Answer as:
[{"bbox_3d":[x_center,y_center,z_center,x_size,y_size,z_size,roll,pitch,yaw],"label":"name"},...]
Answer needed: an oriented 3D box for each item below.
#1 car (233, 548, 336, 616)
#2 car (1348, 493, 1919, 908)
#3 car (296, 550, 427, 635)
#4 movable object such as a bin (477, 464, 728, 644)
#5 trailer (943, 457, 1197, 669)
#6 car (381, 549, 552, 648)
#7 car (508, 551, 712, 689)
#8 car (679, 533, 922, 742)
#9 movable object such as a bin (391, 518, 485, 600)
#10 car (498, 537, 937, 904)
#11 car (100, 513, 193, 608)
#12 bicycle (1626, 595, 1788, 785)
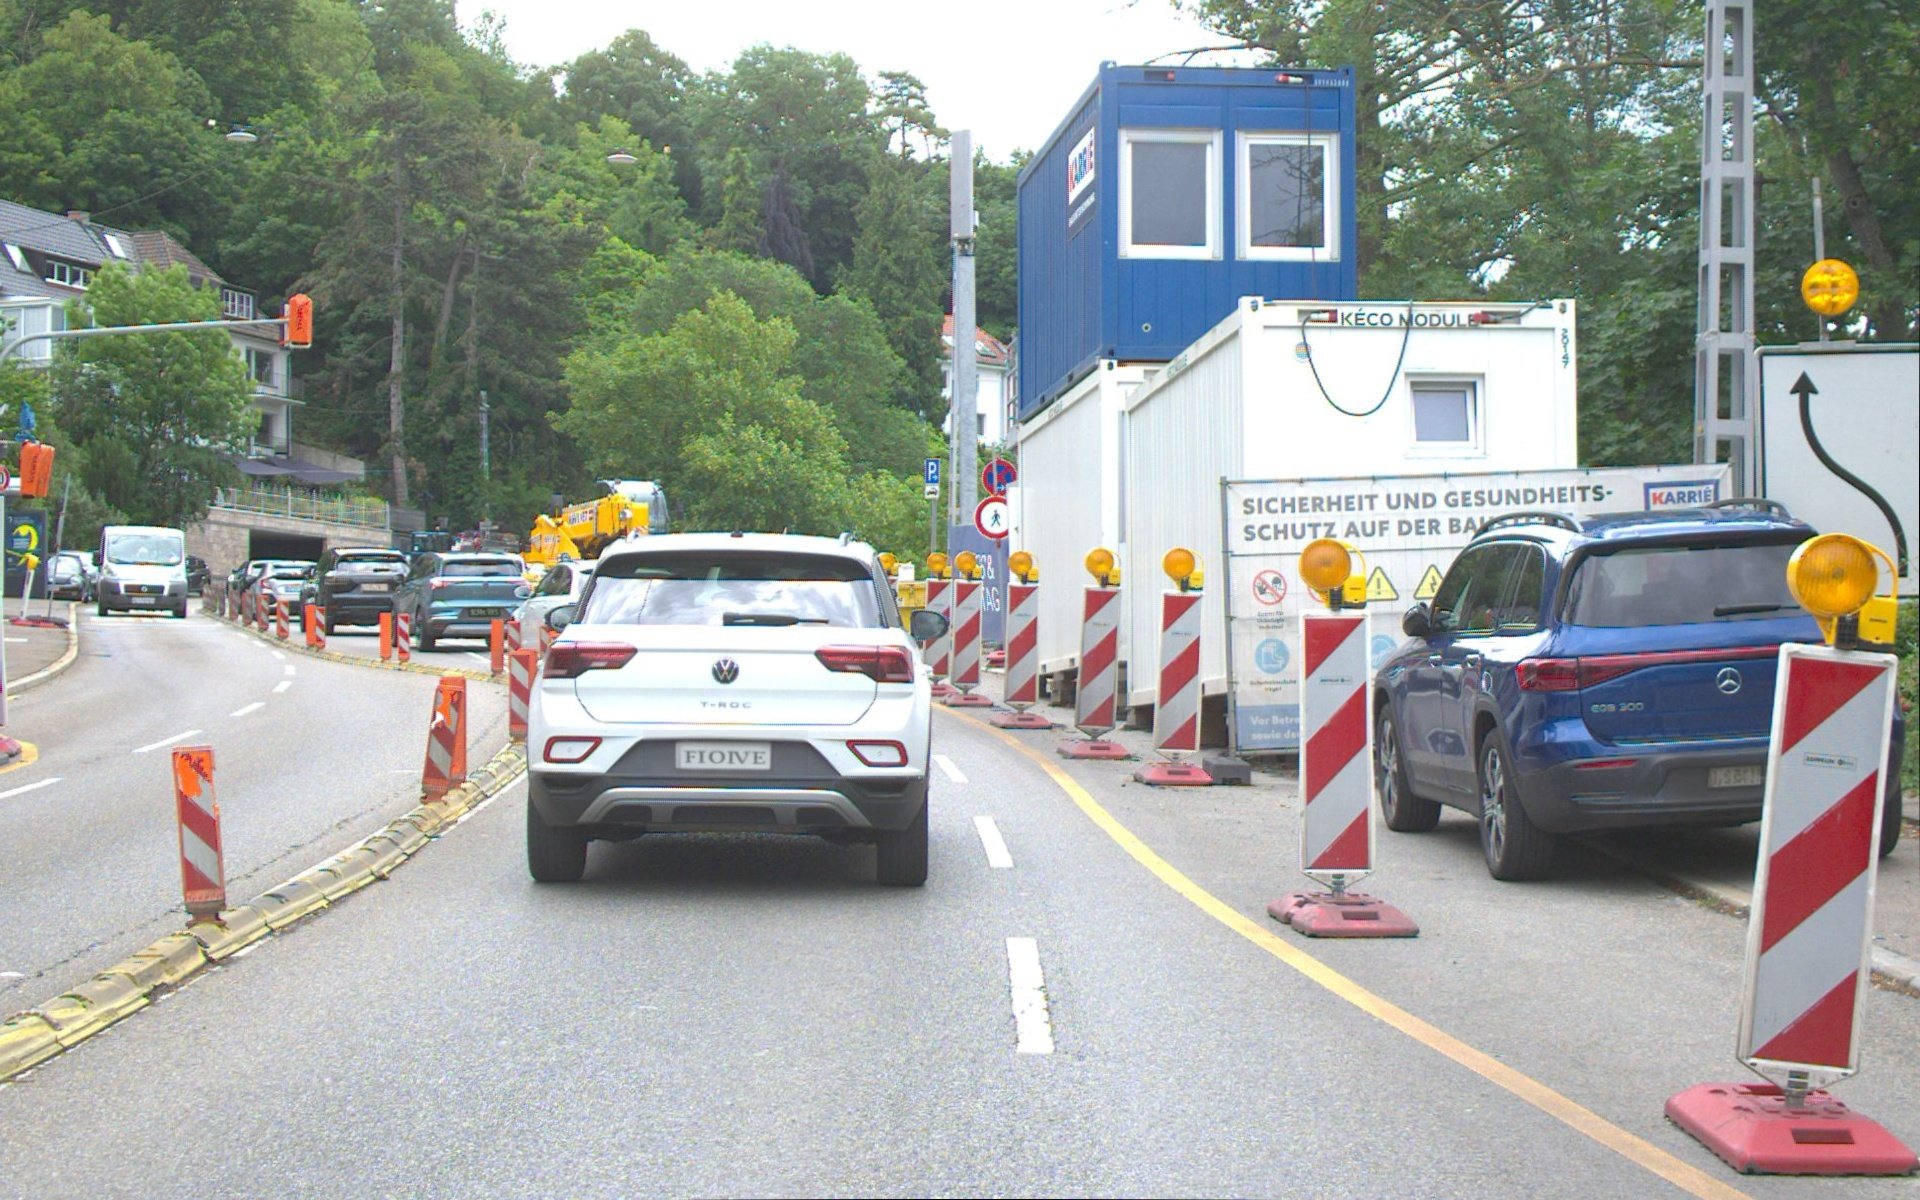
[{"bbox_3d":[-15.910,-0.435,80.871,1.794,1.505,4.001,-2,1,-19],"label":"car"},{"bbox_3d":[3.205,0.399,16.943,1.839,1.637,4.503,-4,1,-2],"label":"car"},{"bbox_3d":[-11.456,-0.164,65.629,1.794,1.505,4.001,-2,1,-19],"label":"car"},{"bbox_3d":[-6.725,-0.853,63.562,2.810,3.060,7.825,1,0,-19],"label":"movable object such as a bin"},{"bbox_3d":[1.335,-0.492,44.472,2.106,2.541,5.120,-1,1,-12],"label":"trailer"},{"bbox_3d":[-7.830,-0.053,54.279,1.794,1.505,4.001,0,1,-21],"label":"car"},{"bbox_3d":[-4.485,0.210,43.565,1.809,1.657,4.001,0,1,-17],"label":"car"},{"bbox_3d":[-1.437,0.271,29.499,1.809,1.657,4.001,0,1,-6],"label":"car"},{"bbox_3d":[-17.560,-1.391,115.823,2.212,2.654,4.944,1,1,2],"label":"movable object such as a bin"},{"bbox_3d":[-1.025,0.474,16.354,1.809,1.526,4.000,0,1,0],"label":"car"},{"bbox_3d":[-19.749,-0.983,83.561,2.066,2.180,4.964,-1,1,-13],"label":"car"},{"bbox_3d":[4.713,0.545,21.790,0.498,1.104,1.800,-2,1,-3],"label":"bicycle"}]
